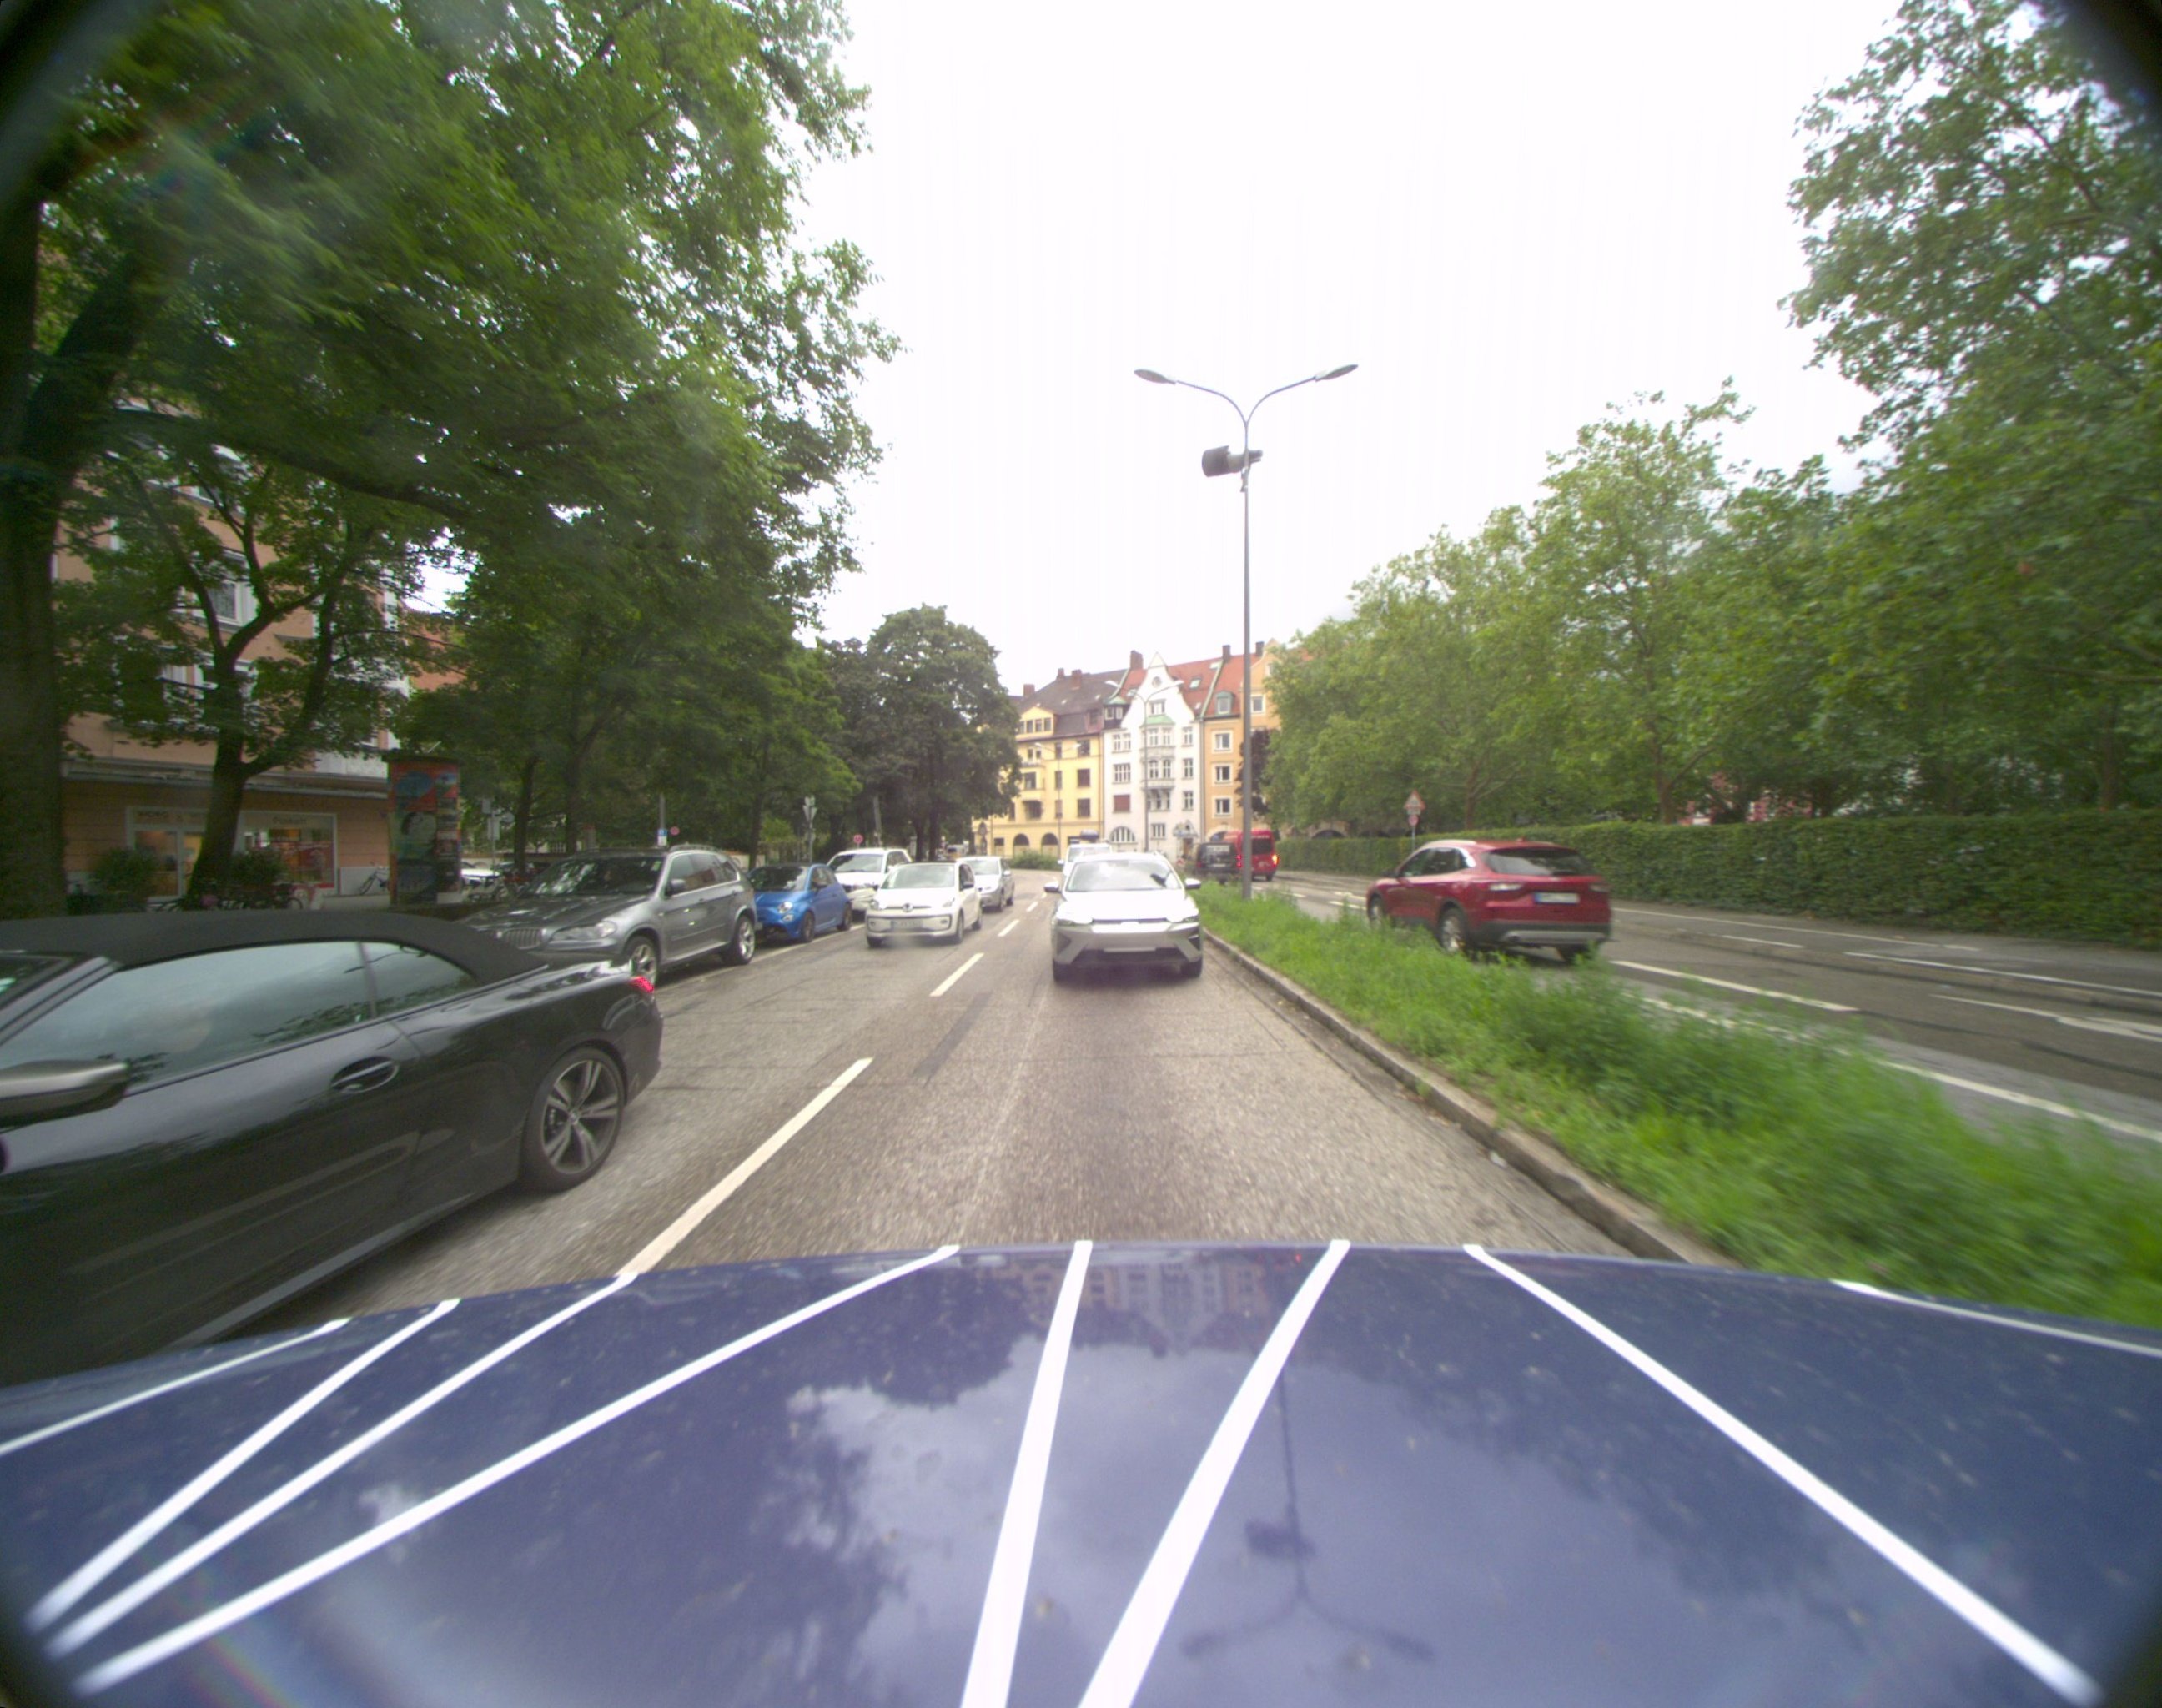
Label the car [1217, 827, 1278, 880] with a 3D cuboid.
[{"bbox_3d":[8.641,-0.003,39.925,2.108,2.573,6.083,0,-1,2],"label":"car"}]

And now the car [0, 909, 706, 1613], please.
[{"bbox_3d":[-3.312,1.049,2.328,1.728,1.381,4.799,0,0,3],"label":"car"}]

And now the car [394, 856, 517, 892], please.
[{"bbox_3d":[-28.790,0.908,35.014,4.436,1.458,1.862,-2,1,10],"label":"car"}]

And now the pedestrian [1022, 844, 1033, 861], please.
[{"bbox_3d":[-6.657,-0.211,94.429,1.005,2.002,0.880,-1,2,33],"label":"pedestrian"}]

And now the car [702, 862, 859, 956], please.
[{"bbox_3d":[-5.675,0.968,14.829,1.523,1.540,3.662,0,0,1],"label":"car"}]

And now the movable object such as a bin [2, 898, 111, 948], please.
[{"bbox_3d":[-19.635,1.312,14.574,1.179,0.867,0.774,0,1,9],"label":"movable object such as a bin"}]

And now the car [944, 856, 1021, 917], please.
[{"bbox_3d":[-2.671,0.841,21.447,1.648,1.521,3.886,0,0,0],"label":"car"}]

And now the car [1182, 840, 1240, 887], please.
[{"bbox_3d":[5.754,0.380,34.125,1.862,1.979,4.704,0,0,0],"label":"car"}]

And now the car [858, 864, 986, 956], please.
[{"bbox_3d":[-2.852,0.950,14.369,1.648,1.457,3.619,0,1,0],"label":"car"}]

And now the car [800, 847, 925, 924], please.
[{"bbox_3d":[-5.774,0.753,20.773,1.848,1.845,5.024,0,0,1],"label":"car"}]

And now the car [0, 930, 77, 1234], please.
[{"bbox_3d":[-6.119,1.140,1.631,1.772,1.452,4.641,0,0,-1],"label":"car"}]

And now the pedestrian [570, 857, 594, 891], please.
[{"bbox_3d":[-23.429,0.920,35.699,0.602,1.543,0.644,-2,2,7],"label":"pedestrian"}]

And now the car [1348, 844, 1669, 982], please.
[{"bbox_3d":[5.952,0.734,11.508,2.108,1.628,4.940,0,-1,0],"label":"car"}]

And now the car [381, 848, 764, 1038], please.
[{"bbox_3d":[-5.826,0.840,9.592,1.937,1.809,4.552,0,0,-3],"label":"car"}]

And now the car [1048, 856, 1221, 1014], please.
[{"bbox_3d":[0.543,0.814,9.485,1.710,1.521,3.886,0,0,0],"label":"car"}]

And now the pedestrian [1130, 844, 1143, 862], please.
[{"bbox_3d":[6.248,-0.082,85.369,1.005,2.002,0.880,-1,2,32],"label":"pedestrian"}]

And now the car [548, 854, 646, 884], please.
[{"bbox_3d":[-26.741,0.823,42.033,4.436,1.458,1.862,-2,1,10],"label":"car"}]

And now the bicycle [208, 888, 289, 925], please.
[{"bbox_3d":[-18.799,1.180,17.187,0.318,0.719,1.181,0,2,45],"label":"bicycle"}]

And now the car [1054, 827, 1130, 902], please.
[{"bbox_3d":[0.507,0.318,26.504,1.911,2.337,4.948,0,0,10],"label":"car"}]
